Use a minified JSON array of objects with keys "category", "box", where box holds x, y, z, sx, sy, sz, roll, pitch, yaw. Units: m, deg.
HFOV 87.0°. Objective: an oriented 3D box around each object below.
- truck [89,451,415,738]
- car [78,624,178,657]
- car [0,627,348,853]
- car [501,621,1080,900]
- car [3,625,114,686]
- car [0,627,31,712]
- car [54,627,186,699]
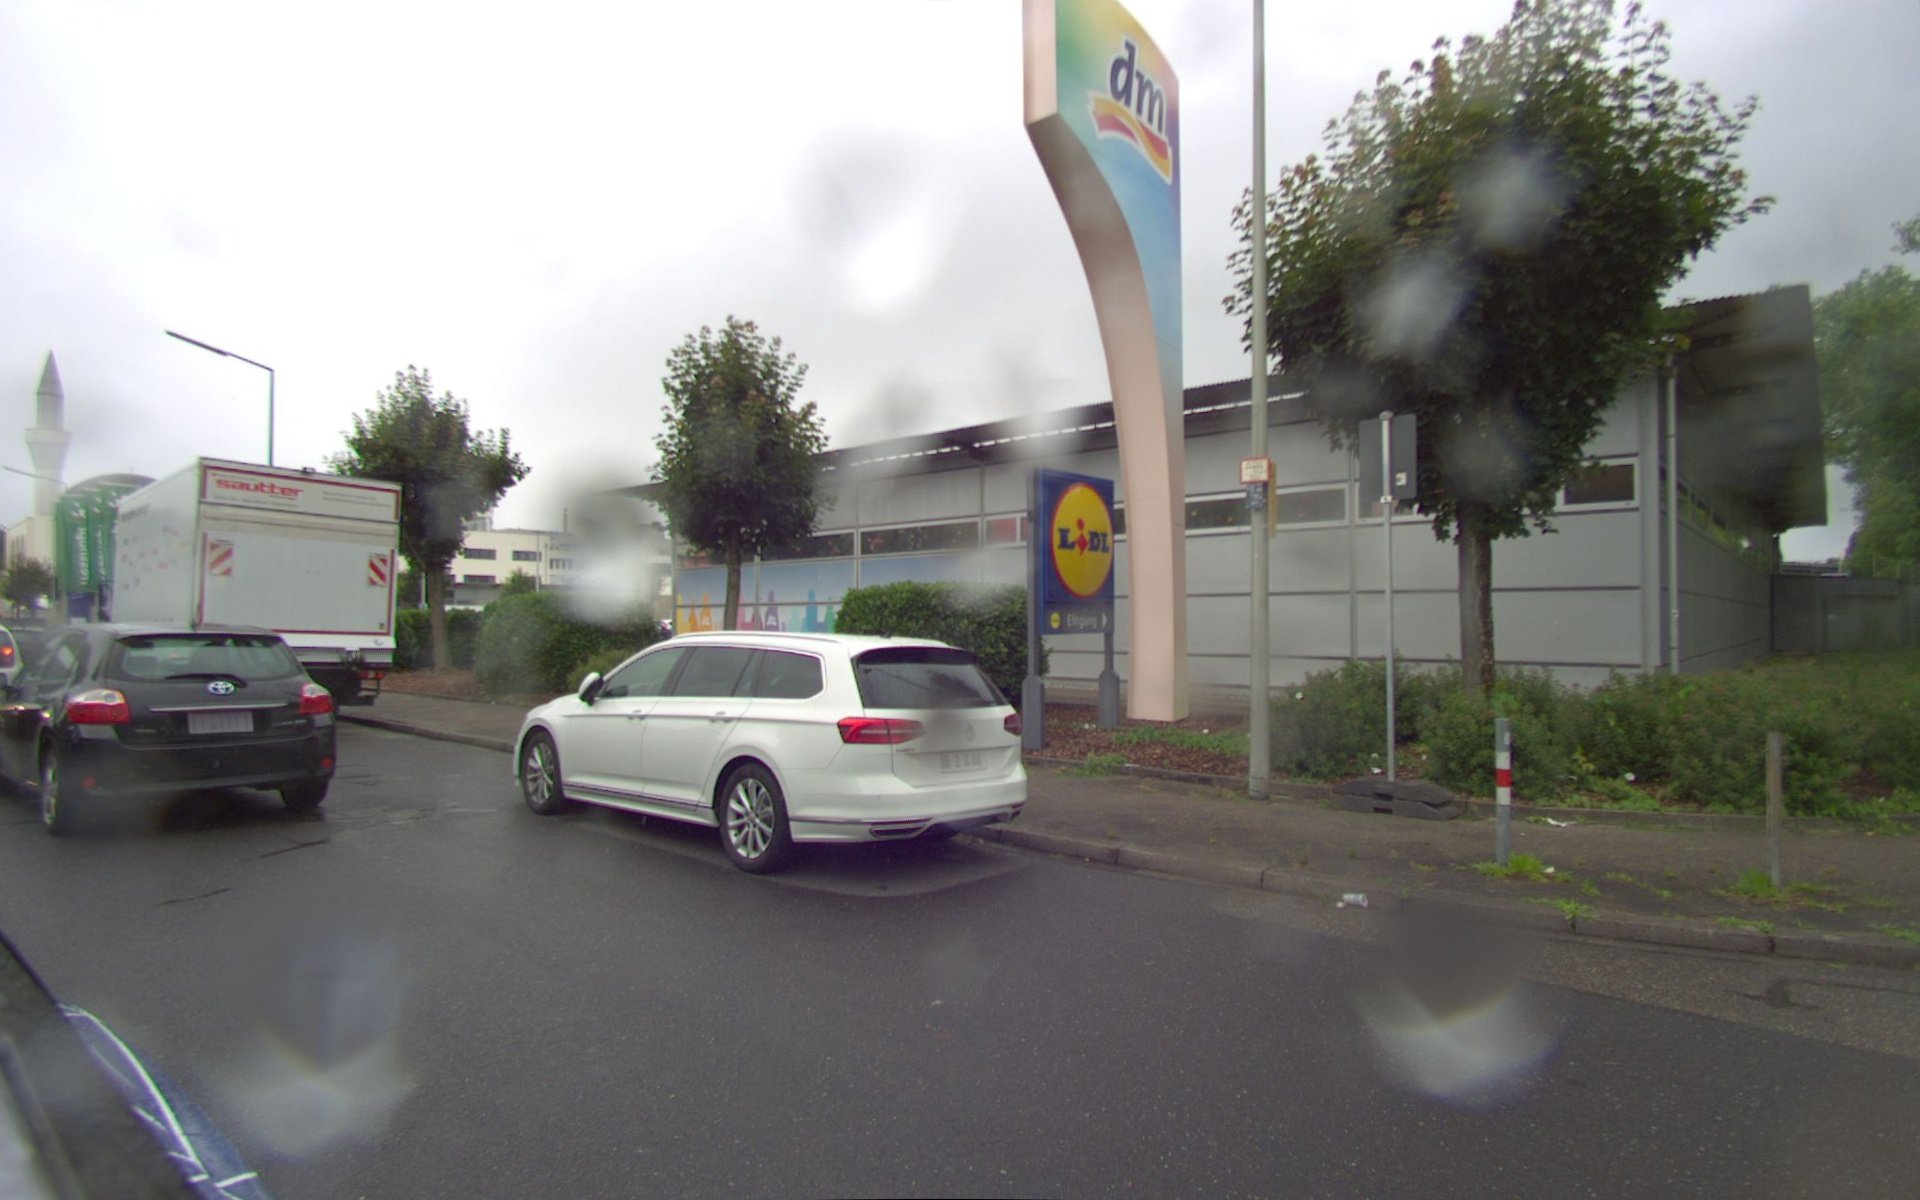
[{"category":"truck","box":[-12.162,0.024,17.015,7.866,3.775,2.850,-2,-2,43]},{"category":"car","box":[-41.595,2.007,50.654,1.690,1.610,3.565,-1,-2,38]},{"category":"car","box":[-6.878,0.972,8.446,3.994,1.452,1.714,-2,-3,38]},{"category":"car","box":[-1.480,0.913,7.462,4.490,1.445,1.816,-2,-3,42]},{"category":"car","box":[-23.544,1.389,26.402,3.510,1.477,1.670,-1,-2,40]},{"category":"car","box":[-17.972,1.191,18.014,3.404,1.449,1.595,-1,-3,39]},{"category":"car","box":[-18.847,1.342,22.664,3.510,1.477,1.670,-1,-2,40]}]
